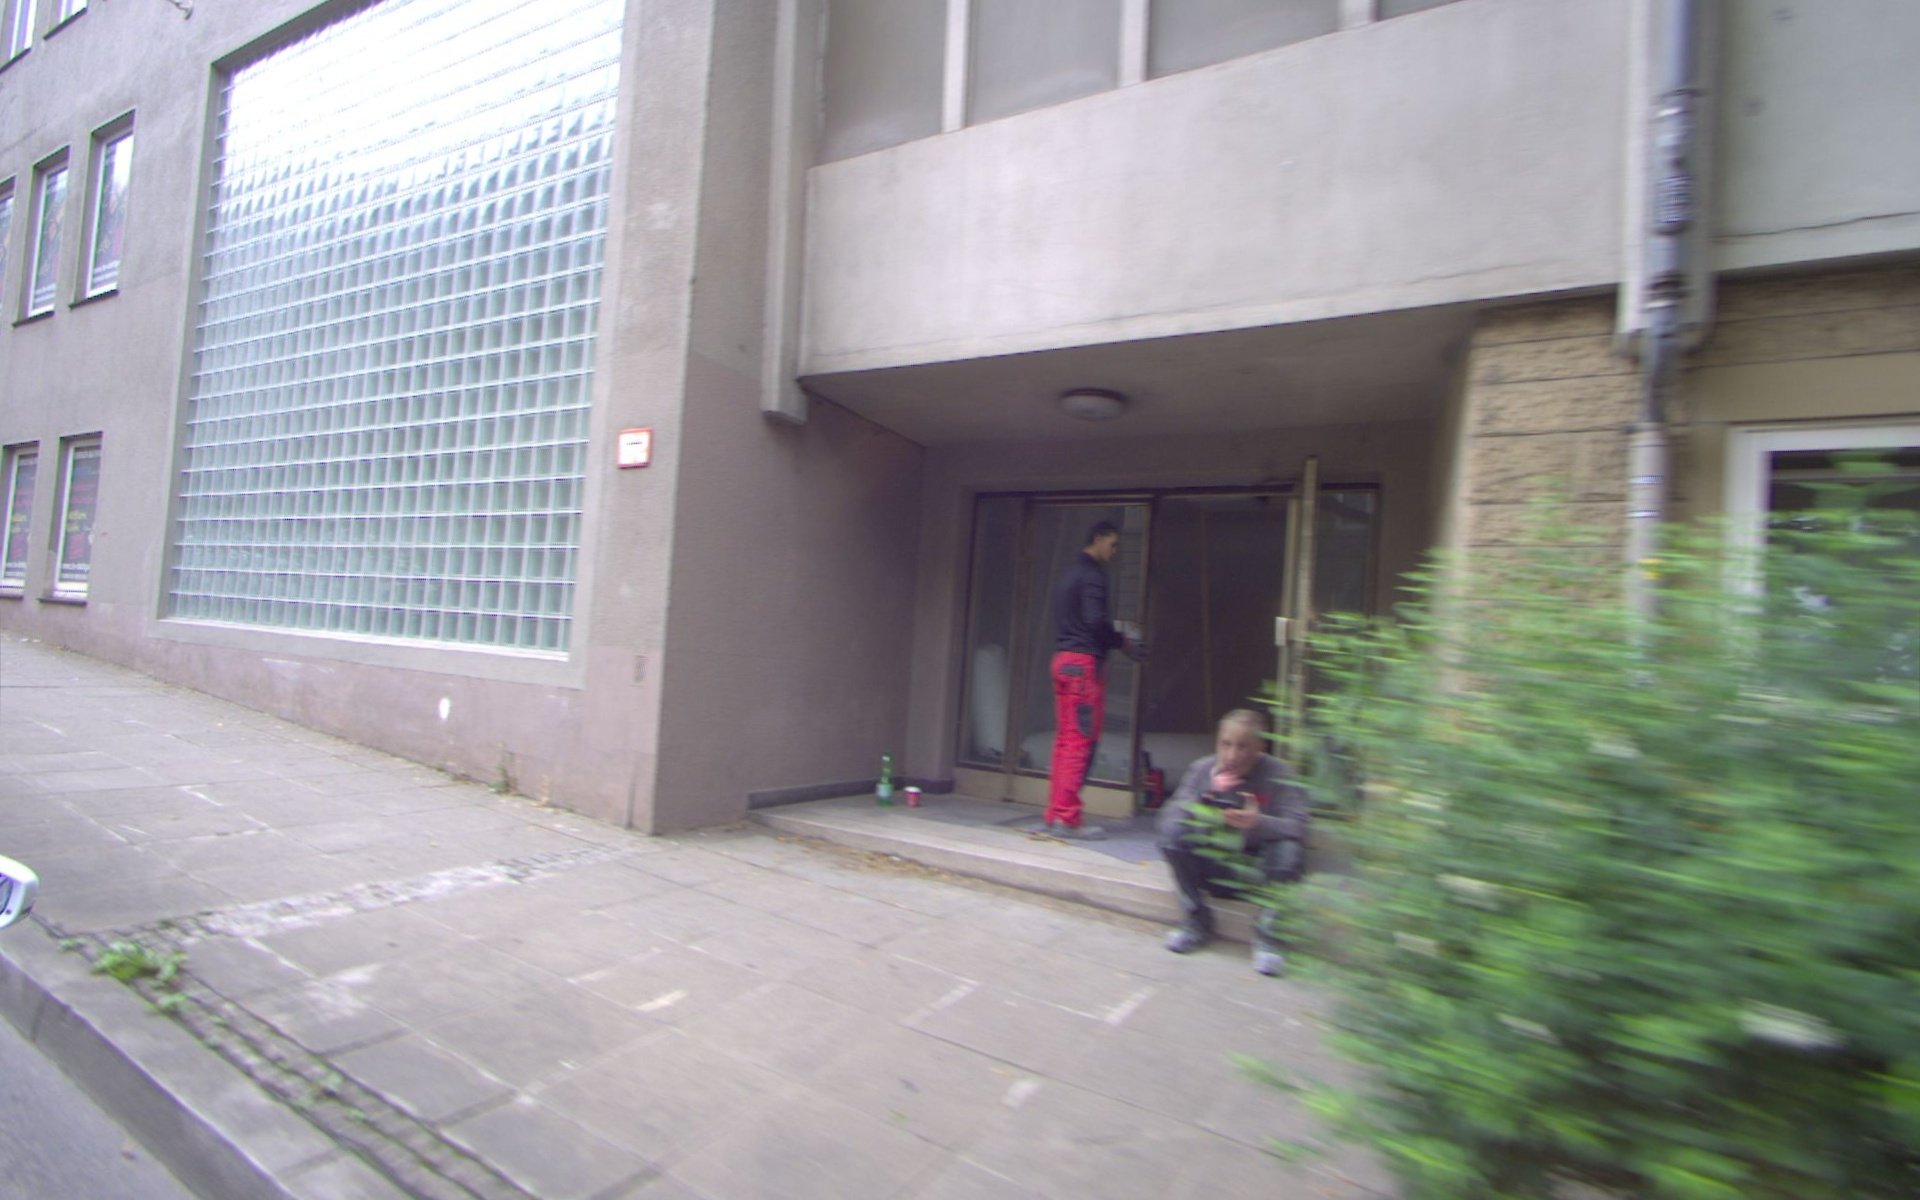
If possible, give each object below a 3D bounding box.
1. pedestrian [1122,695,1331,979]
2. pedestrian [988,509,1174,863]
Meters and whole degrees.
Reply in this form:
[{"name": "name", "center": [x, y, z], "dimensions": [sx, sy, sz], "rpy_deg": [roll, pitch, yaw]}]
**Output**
[{"name": "pedestrian", "center": [1.101, 0.924, 4.127], "dimensions": [0.597, 0.976, 0.526], "rpy_deg": [7, -1, 32]}, {"name": "pedestrian", "center": [0.684, 0.484, 5.755], "dimensions": [0.606, 1.897, 0.587], "rpy_deg": [8, -1, -31]}]
